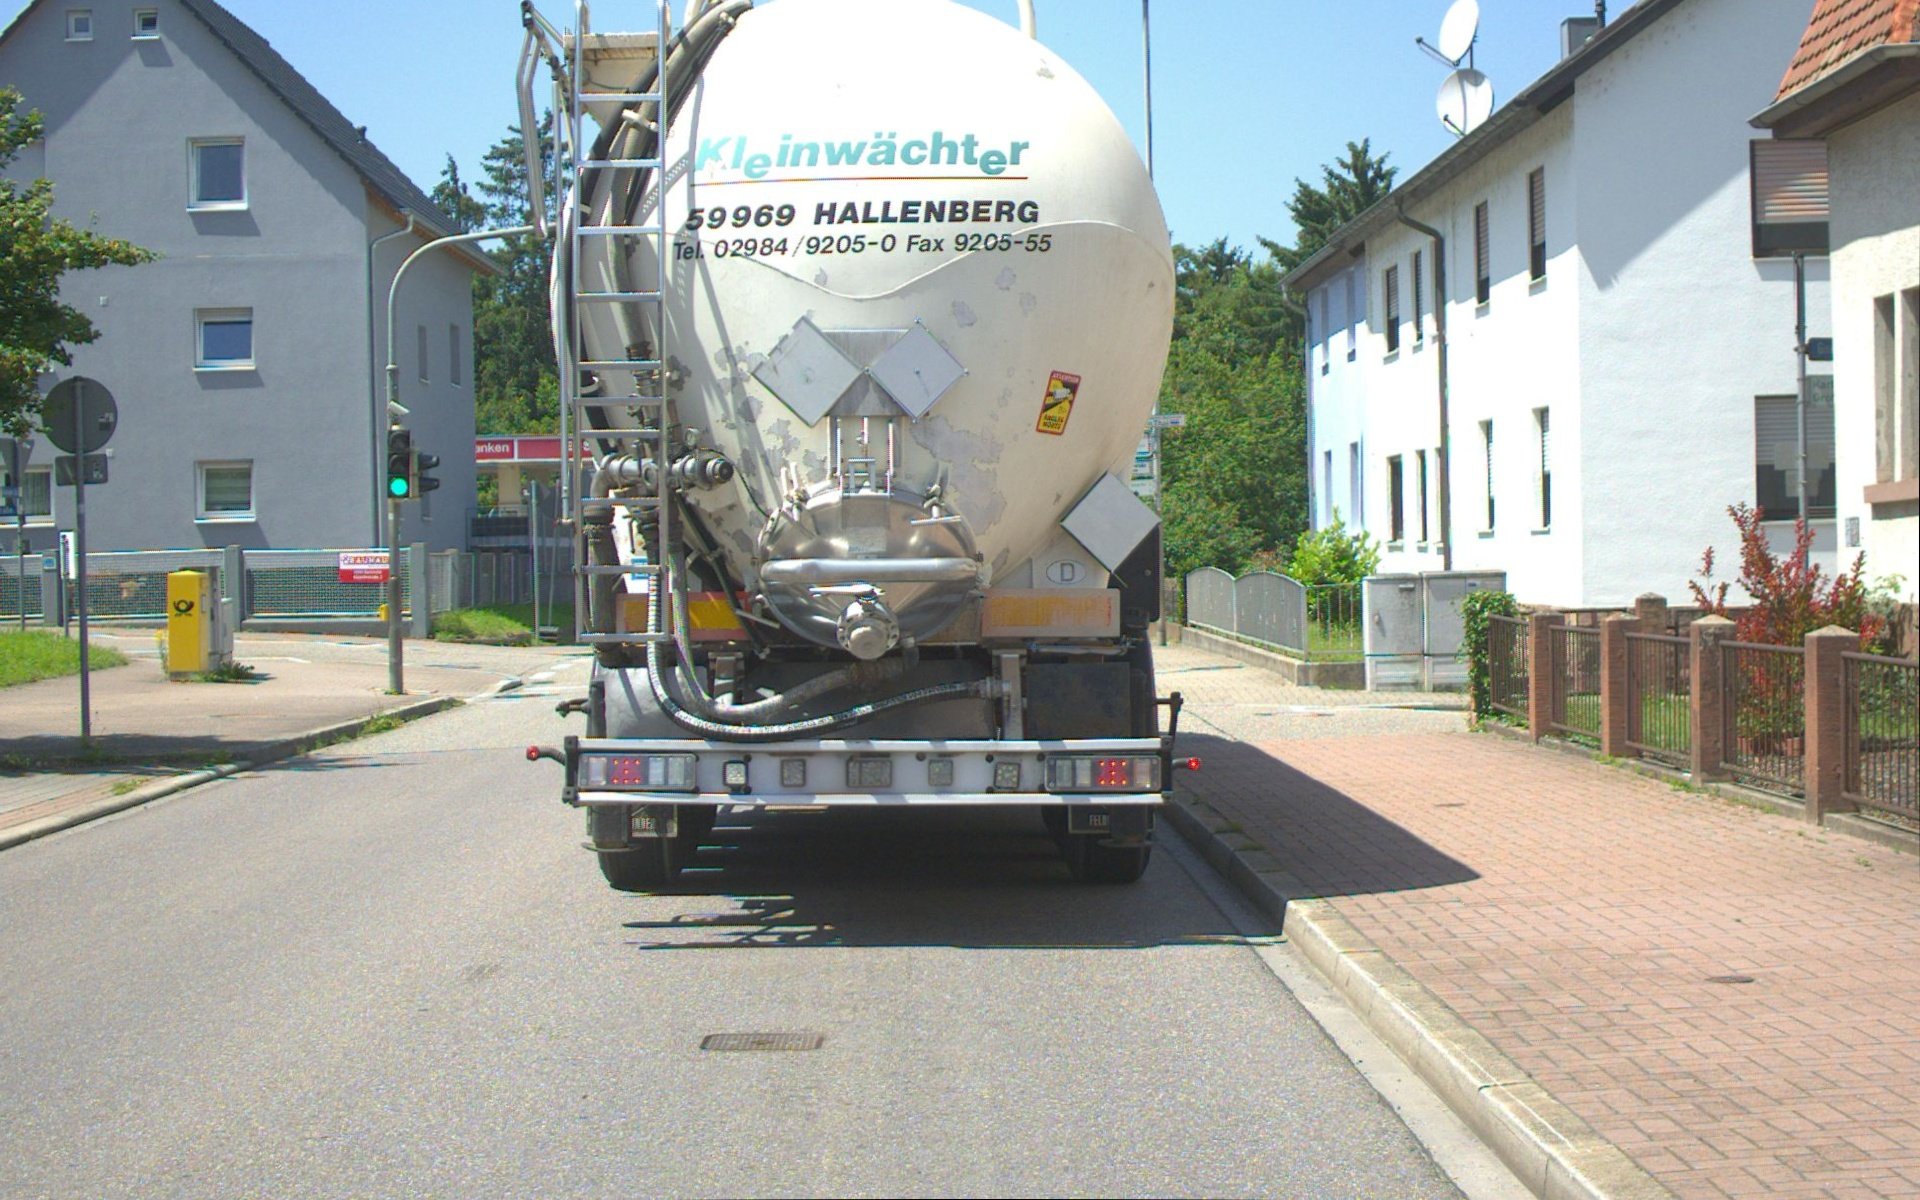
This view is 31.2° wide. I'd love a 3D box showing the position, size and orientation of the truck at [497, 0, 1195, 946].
[{"bbox_3d":[-0.481,-0.756,17.805,2.641,4.002,9.562,0,1,-1],"label":"truck"}]
